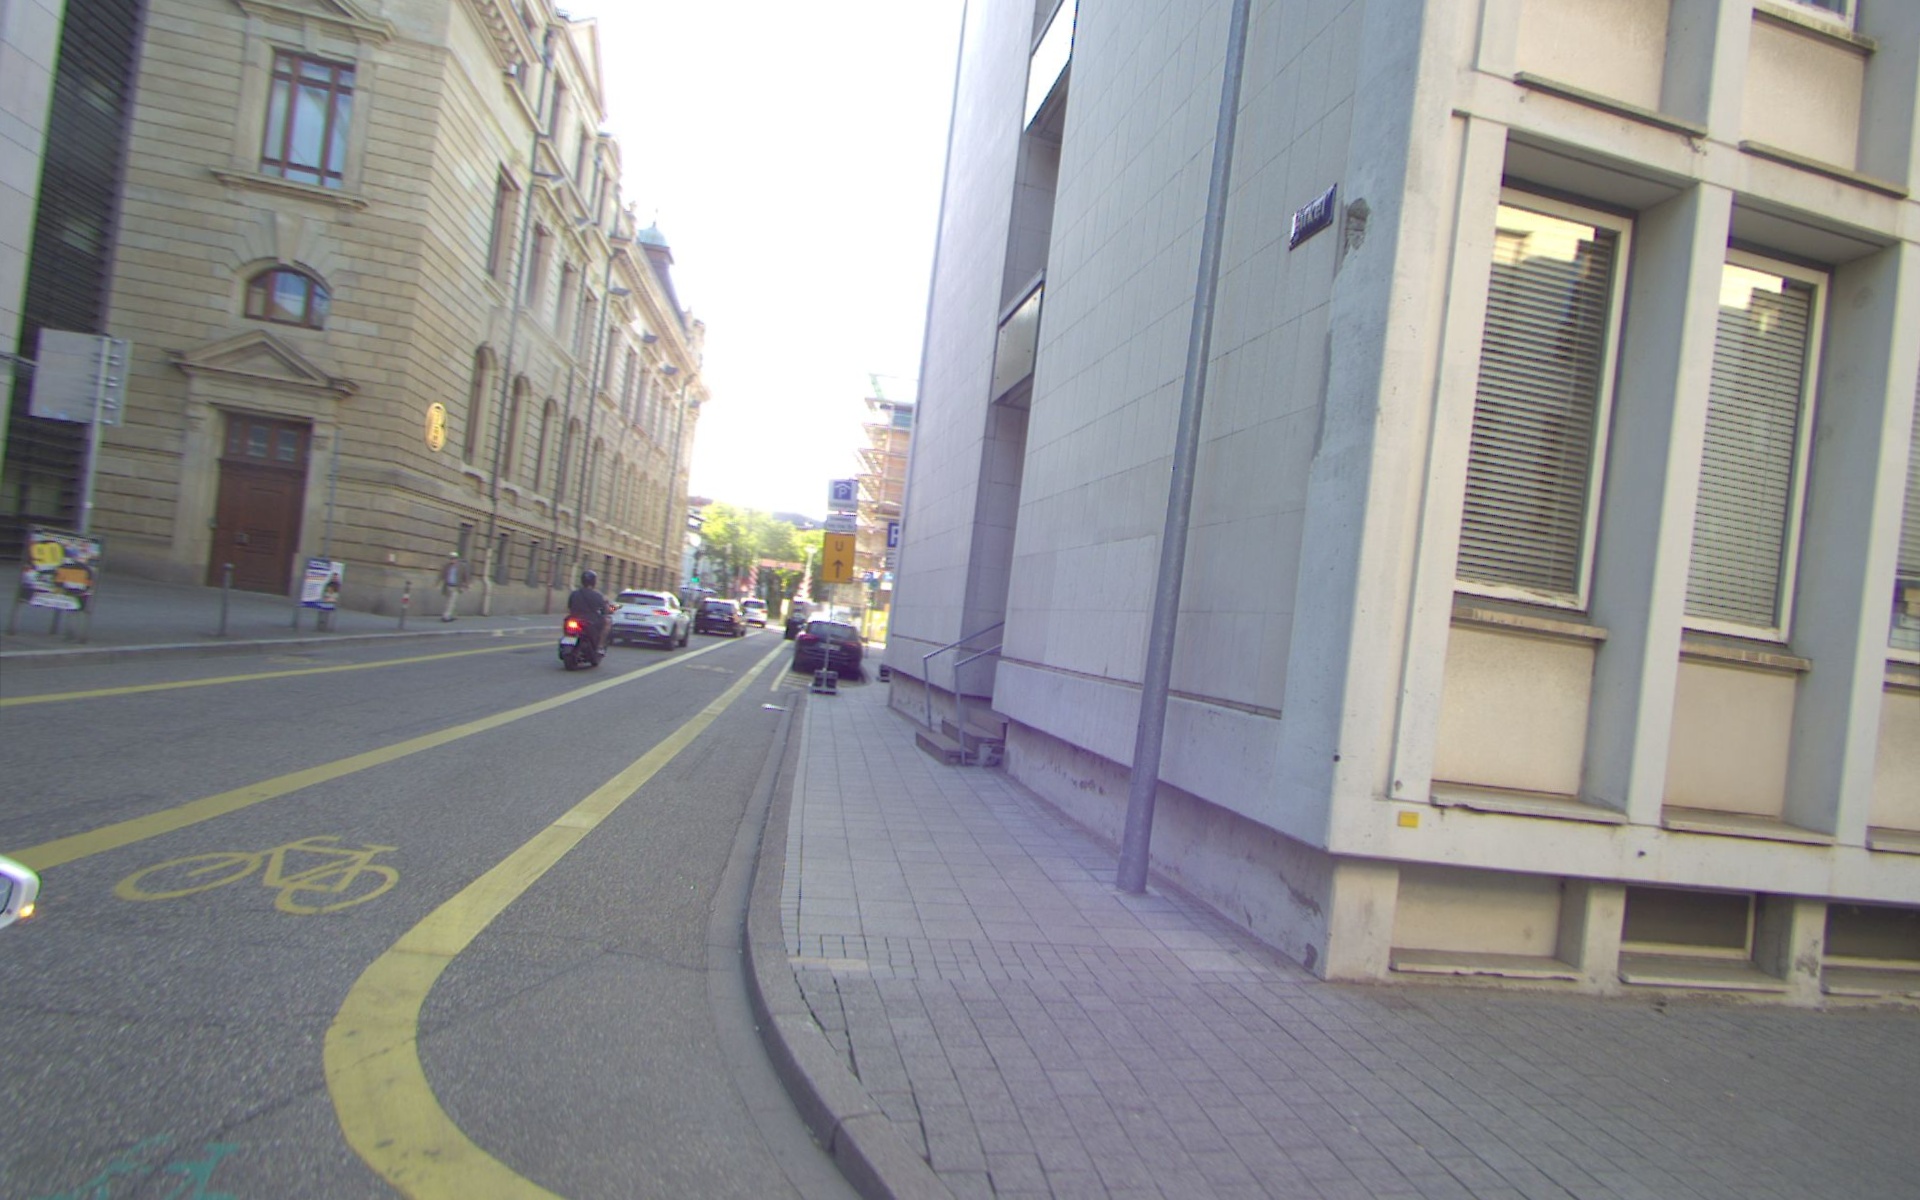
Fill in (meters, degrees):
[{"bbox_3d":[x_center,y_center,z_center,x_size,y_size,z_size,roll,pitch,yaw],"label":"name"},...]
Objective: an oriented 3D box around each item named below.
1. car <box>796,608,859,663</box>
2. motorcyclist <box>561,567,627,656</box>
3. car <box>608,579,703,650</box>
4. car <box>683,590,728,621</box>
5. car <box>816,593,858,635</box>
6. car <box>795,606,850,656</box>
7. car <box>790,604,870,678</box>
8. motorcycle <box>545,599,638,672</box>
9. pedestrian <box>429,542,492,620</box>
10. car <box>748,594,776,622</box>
[{"bbox_3d":[-4.352,1.110,32.839,1.756,1.497,4.284,6,-1,-8],"label":"car"},{"bbox_3d":[-6.389,0.201,17.575,0.853,1.444,0.456,6,0,1],"label":"motorcyclist"},{"bbox_3d":[-8.188,0.367,27.385,1.798,1.560,4.257,7,-1,-10],"label":"car"},{"bbox_3d":[-16.916,0.321,66.812,1.974,1.687,4.328,4,2,-26],"label":"car"},{"bbox_3d":[-6.286,0.666,51.109,1.800,1.719,4.658,8,0,-8],"label":"car"},{"bbox_3d":[-5.322,1.141,38.819,1.800,1.518,4.730,8,-1,-8],"label":"car"},{"bbox_3d":[-3.499,1.028,26.829,1.758,1.497,4.281,8,0,-9],"label":"car"},{"bbox_3d":[-6.429,0.615,17.673,0.859,1.122,1.840,6,-1,0],"label":"motorcycle"},{"bbox_3d":[-12.660,-0.460,25.520,0.830,1.820,1.073,10,-1,-5],"label":"pedestrian"},{"bbox_3d":[-12.496,0.459,63.609,1.606,1.505,3.781,4,1,-10],"label":"car"}]
